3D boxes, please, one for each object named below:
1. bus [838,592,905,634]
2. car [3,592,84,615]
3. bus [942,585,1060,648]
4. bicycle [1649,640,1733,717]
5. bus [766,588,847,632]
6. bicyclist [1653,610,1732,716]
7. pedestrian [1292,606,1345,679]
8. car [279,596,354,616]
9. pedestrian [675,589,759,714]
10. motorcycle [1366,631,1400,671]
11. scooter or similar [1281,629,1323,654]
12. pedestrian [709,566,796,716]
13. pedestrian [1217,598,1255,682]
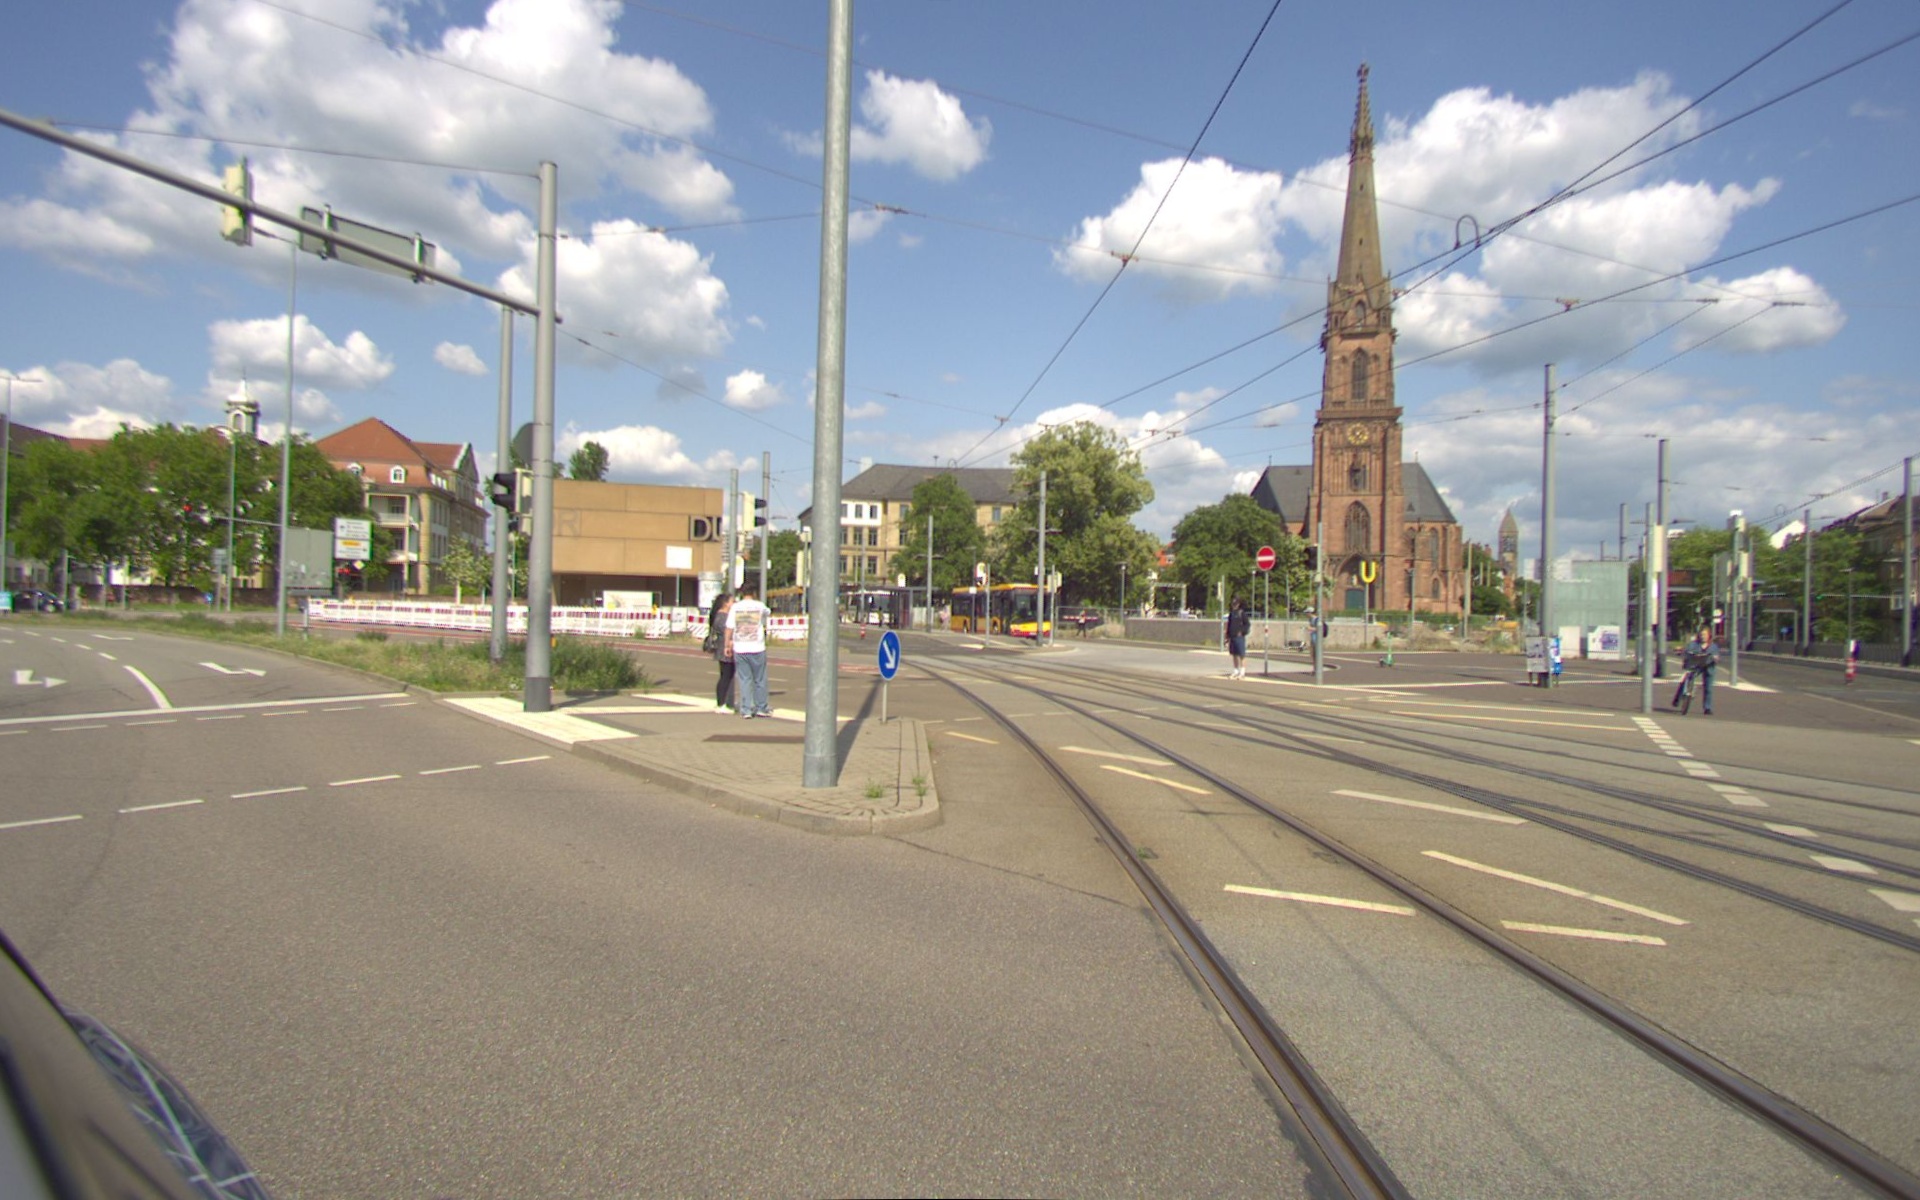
[{"bbox_3d":[-8.955,1.301,98.867,3.548,3.659,18.922,2,-1,-14],"label":"bus"},{"bbox_3d":[-56.471,0.220,62.374,3.745,1.345,1.729,1,0,8],"label":"car"},{"bbox_3d":[2.019,0.930,58.520,2.786,3.160,12.878,2,-1,-16],"label":"bus"},{"bbox_3d":[12.738,1.330,17.603,0.994,1.197,2.269,1,-2,41],"label":"bicycle"},{"bbox_3d":[-13.640,0.862,87.004,3.417,3.208,23.849,1,-1,-17],"label":"bus"},{"bbox_3d":[12.808,1.084,17.695,0.994,1.744,1.283,1,-2,41],"label":"bicyclist"},{"bbox_3d":[9.198,1.075,25.968,0.756,1.811,1.029,0,1,-42],"label":"pedestrian"},{"bbox_3d":[-47.055,0.402,74.089,1.991,1.386,4.229,1,0,28],"label":"car"},{"bbox_3d":[-3.363,0.695,14.021,0.692,1.660,0.838,1,-1,43],"label":"pedestrian"},{"bbox_3d":[13.800,1.654,32.984,1.425,1.246,0.484,3,-1,-45],"label":"motorcycle"},{"bbox_3d":[15.959,1.938,47.205,1.618,1.114,0.855,0,1,-13],"label":"scooter or similar"},{"bbox_3d":[-2.778,0.535,13.589,0.692,1.931,0.838,1,-1,43],"label":"pedestrian"},{"bbox_3d":[6.508,0.924,23.899,0.818,1.917,0.764,1,1,12],"label":"pedestrian"}]
